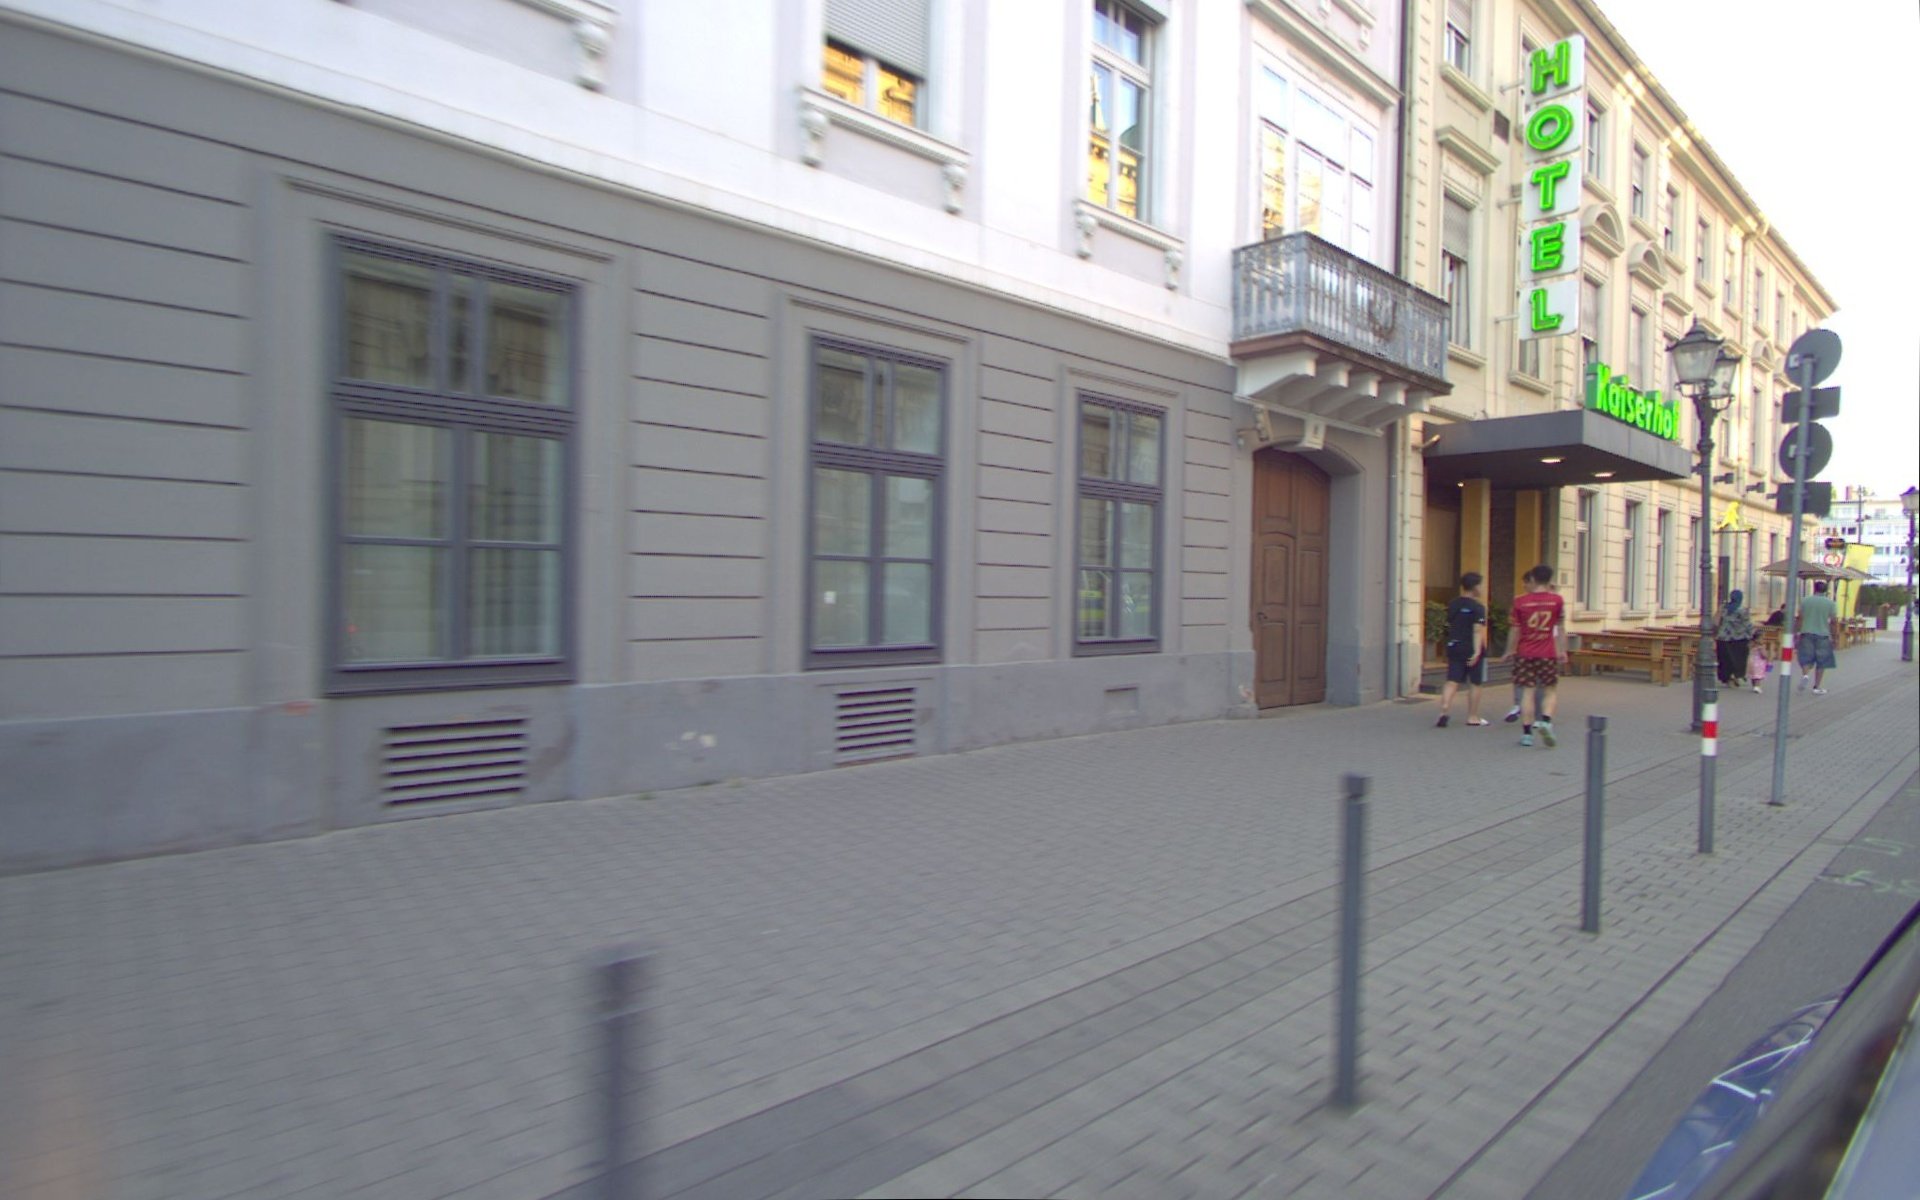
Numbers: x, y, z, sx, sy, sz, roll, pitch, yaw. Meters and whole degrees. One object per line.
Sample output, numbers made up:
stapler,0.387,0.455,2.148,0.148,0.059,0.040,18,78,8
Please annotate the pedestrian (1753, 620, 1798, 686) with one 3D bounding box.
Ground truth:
pedestrian,13.022,0.833,16.161,0.548,0.992,0.461,0,1,-40

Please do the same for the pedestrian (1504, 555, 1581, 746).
pedestrian,5.829,0.467,10.147,0.617,1.812,0.904,1,1,30

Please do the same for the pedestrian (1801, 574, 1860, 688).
pedestrian,13.840,0.473,16.088,0.548,1.751,0.608,0,1,-40

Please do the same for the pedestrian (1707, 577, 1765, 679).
pedestrian,12.798,0.442,16.696,0.604,1.621,0.631,0,1,-40

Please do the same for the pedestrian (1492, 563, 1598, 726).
pedestrian,6.607,0.470,11.435,0.865,1.751,0.750,0,1,-38

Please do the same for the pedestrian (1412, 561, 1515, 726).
pedestrian,5.617,0.454,11.292,0.857,1.751,0.715,0,1,-39

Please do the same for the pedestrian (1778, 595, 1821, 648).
pedestrian,22.348,0.557,26.949,0.771,1.376,0.716,1,1,32
